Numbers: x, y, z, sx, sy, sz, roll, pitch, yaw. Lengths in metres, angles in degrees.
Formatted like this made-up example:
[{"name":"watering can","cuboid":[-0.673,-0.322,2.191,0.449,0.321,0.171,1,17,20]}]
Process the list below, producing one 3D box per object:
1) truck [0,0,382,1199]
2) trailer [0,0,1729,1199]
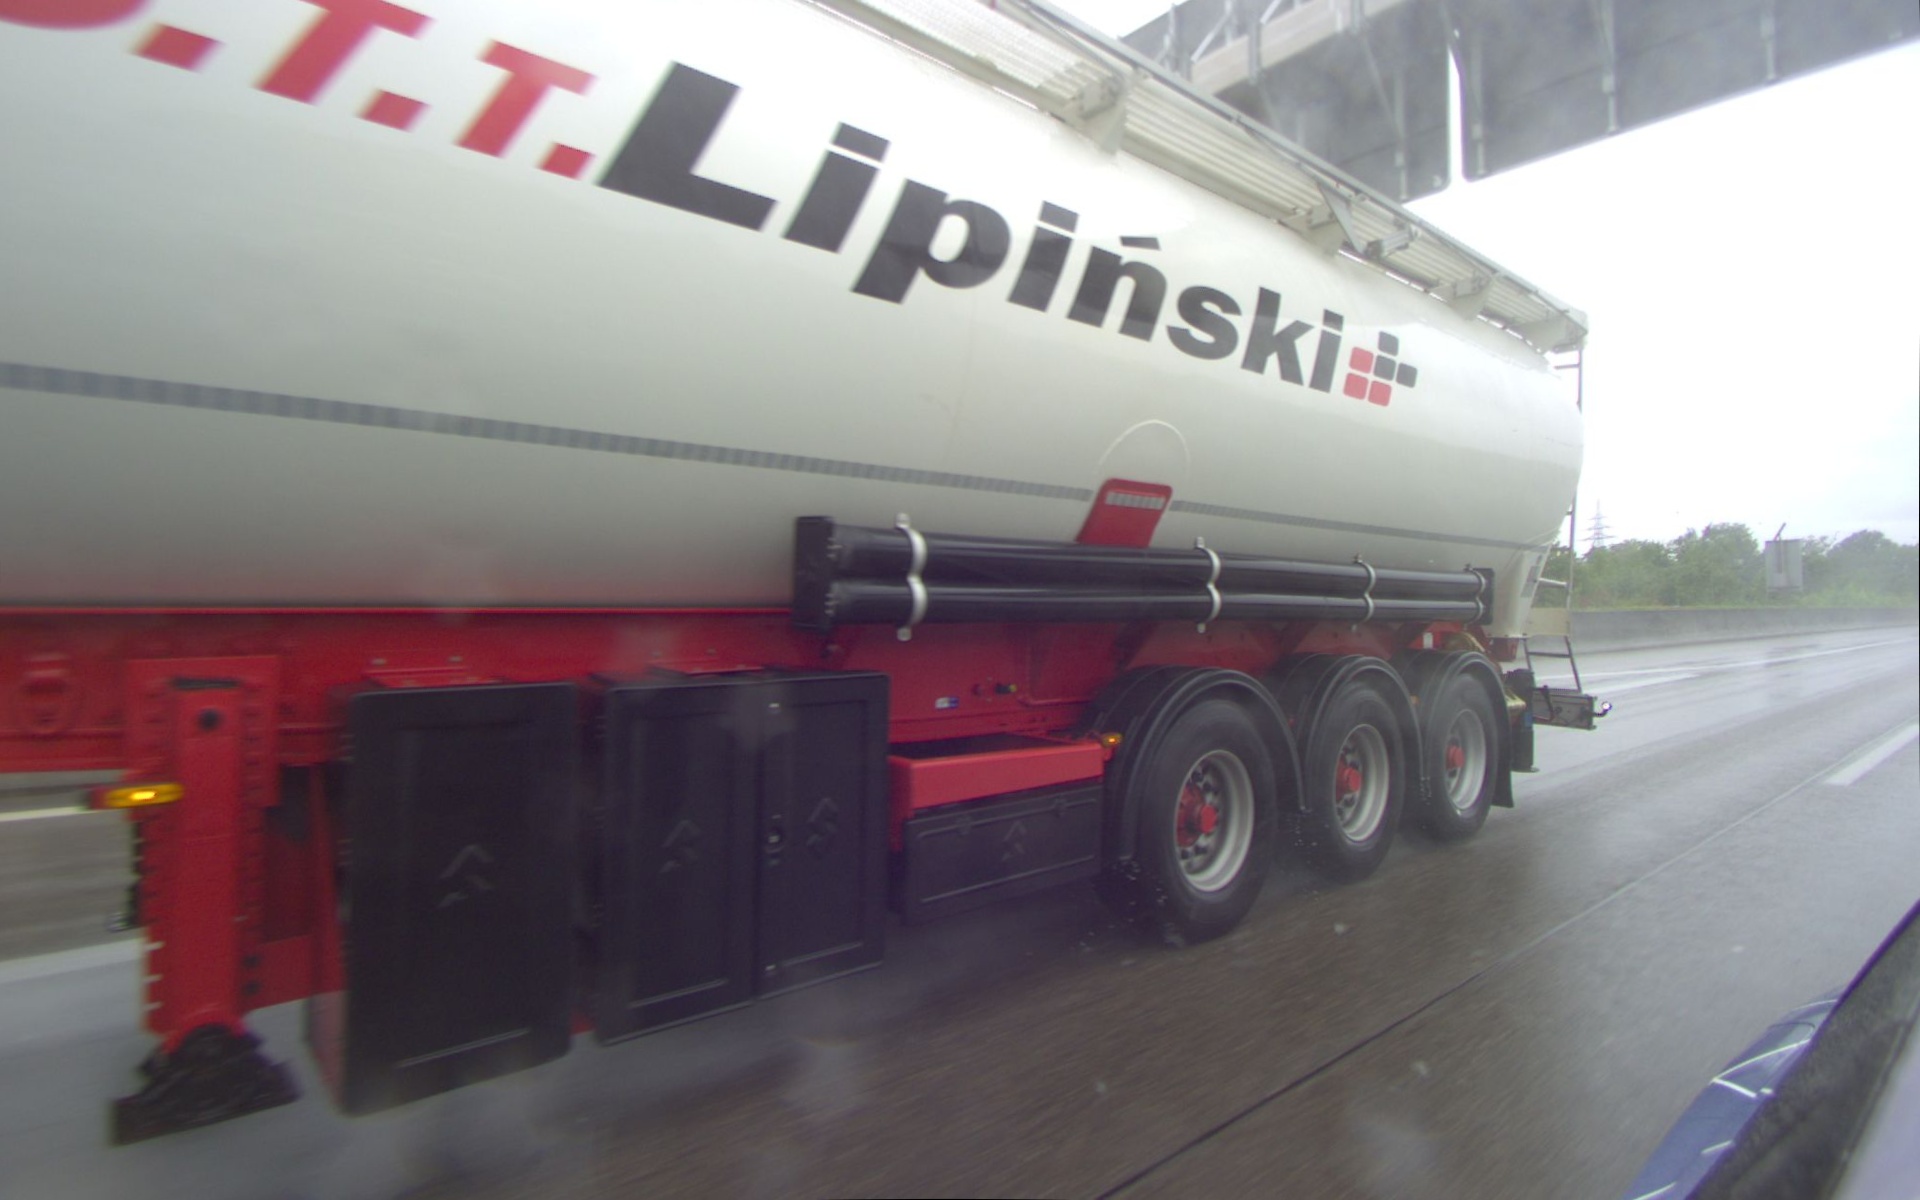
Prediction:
[{"name":"truck","cuboid":[-4.824,-0.536,0.844,7.088,3.855,3.109,0,0,-42]},{"name":"trailer","cuboid":[1.628,-0.558,6.595,11.463,3.716,3.193,0,0,-41]}]
